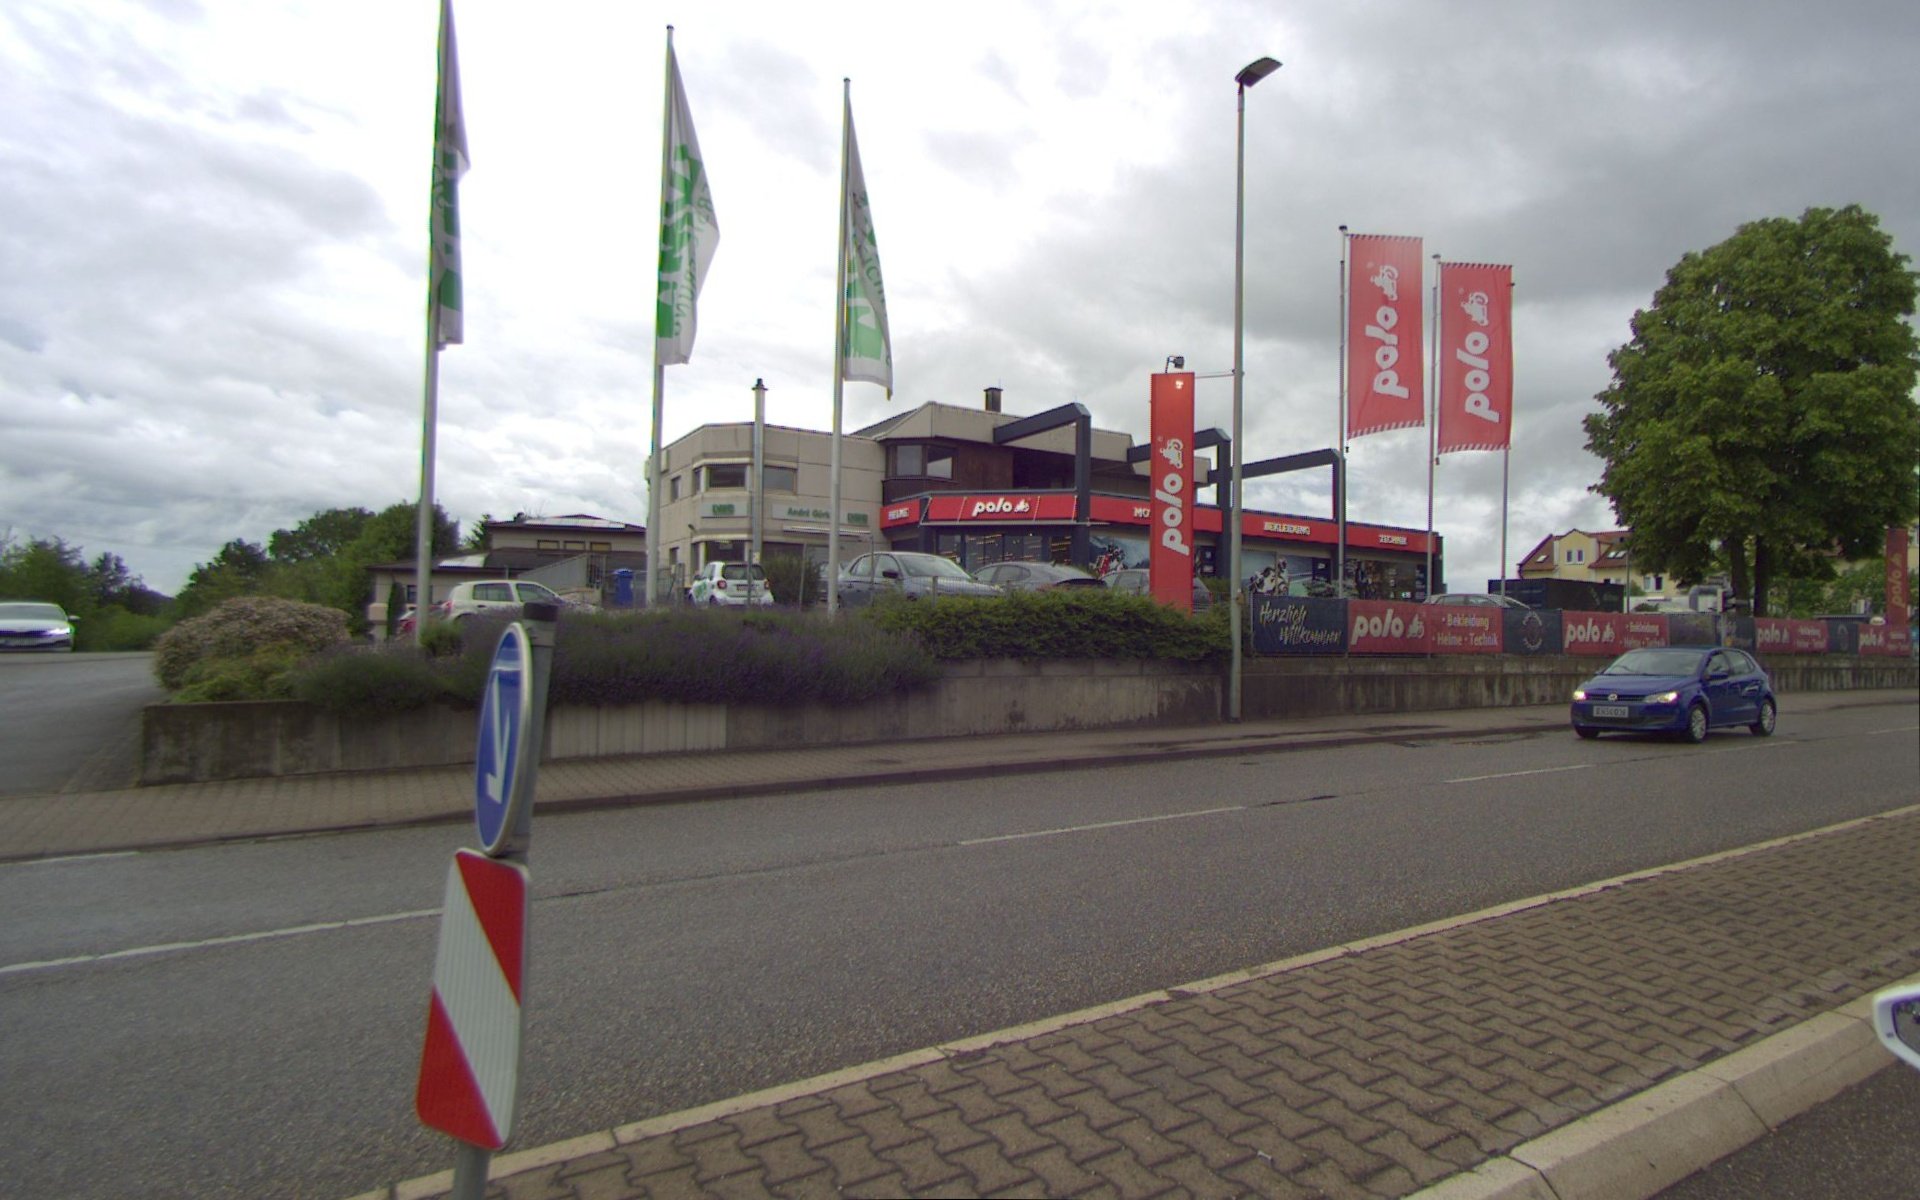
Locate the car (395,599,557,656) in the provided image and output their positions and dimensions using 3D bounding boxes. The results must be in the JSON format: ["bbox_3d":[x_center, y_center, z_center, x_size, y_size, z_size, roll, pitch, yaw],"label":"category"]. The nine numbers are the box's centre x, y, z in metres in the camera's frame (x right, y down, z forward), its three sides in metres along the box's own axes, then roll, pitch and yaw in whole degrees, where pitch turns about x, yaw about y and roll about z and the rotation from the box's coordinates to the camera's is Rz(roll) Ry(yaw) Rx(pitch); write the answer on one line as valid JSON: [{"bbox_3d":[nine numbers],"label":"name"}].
[{"bbox_3d":[-13.945,0.814,29.030,4.013,1.532,1.664,1,-3,-35],"label":"car"}]

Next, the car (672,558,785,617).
[{"bbox_3d":[-6.530,-0.278,28.122,1.855,1.502,3.803,1,-2,-34],"label":"car"}]

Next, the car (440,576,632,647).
[{"bbox_3d":[-9.856,0.314,23.407,3.955,1.532,1.667,1,-3,-30],"label":"car"}]

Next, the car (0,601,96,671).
[{"bbox_3d":[-22.099,0.833,23.897,1.855,1.532,3.965,1,-2,-34],"label":"car"}]

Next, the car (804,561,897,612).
[{"bbox_3d":[-3.732,-0.397,33.637,1.850,1.532,3.976,1,-2,-27],"label":"car"}]

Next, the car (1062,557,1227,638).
[{"bbox_3d":[3.764,0.001,20.966,1.564,1.529,3.399,1,-2,-30],"label":"car"}]

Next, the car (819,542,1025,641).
[{"bbox_3d":[-0.750,-0.077,17.261,1.725,1.502,3.800,1,-2,-36],"label":"car"}]

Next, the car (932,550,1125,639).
[{"bbox_3d":[1.208,-0.049,18.964,1.725,1.502,3.622,1,-2,-36],"label":"car"}]

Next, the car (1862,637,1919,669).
[{"bbox_3d":[45.617,2.519,47.494,4.136,1.475,1.796,-1,-2,33],"label":"car"}]

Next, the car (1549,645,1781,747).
[{"bbox_3d":[11.188,1.443,15.898,3.722,1.400,1.626,1,-3,-31],"label":"car"}]
